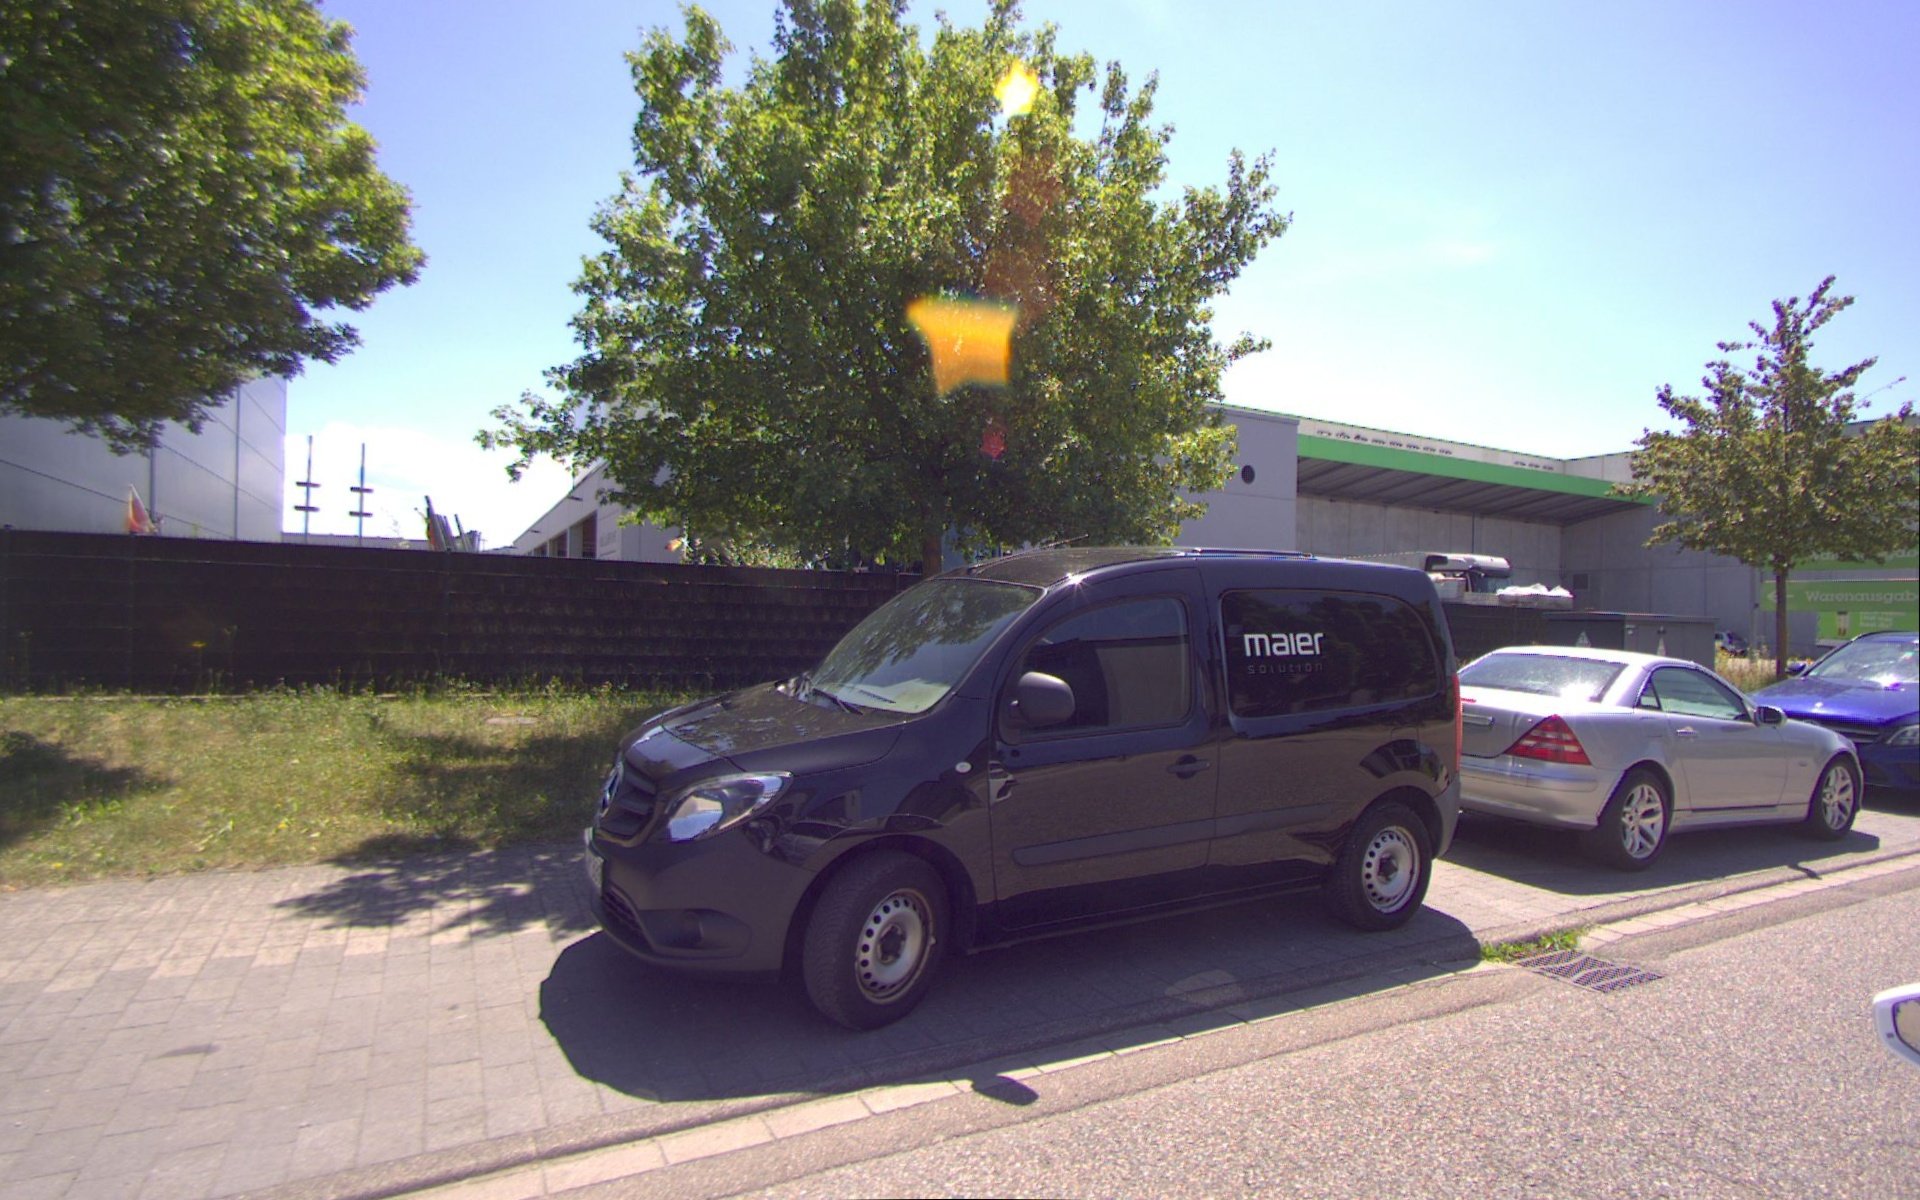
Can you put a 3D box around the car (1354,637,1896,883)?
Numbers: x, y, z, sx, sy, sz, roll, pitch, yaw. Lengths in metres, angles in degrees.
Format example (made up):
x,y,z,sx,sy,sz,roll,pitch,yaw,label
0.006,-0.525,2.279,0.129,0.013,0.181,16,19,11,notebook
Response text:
x,y,z,sx,sy,sz,roll,pitch,yaw,label
4.781,0.987,7.144,3.848,1.314,1.473,2,0,-26,car

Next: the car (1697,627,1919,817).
x,y,z,sx,sy,sz,roll,pitch,yaw,label
9.273,1.054,9.669,4.197,1.469,1.793,1,0,-27,car

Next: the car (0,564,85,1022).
x,y,z,sx,sy,sz,roll,pitch,yaw,label
-5.029,0.557,2.060,4.533,1.495,1.791,2,0,-29,car

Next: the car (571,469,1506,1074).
x,y,z,sx,sy,sz,roll,pitch,yaw,label
0.489,0.584,4.869,4.201,1.838,1.791,2,0,-29,car
